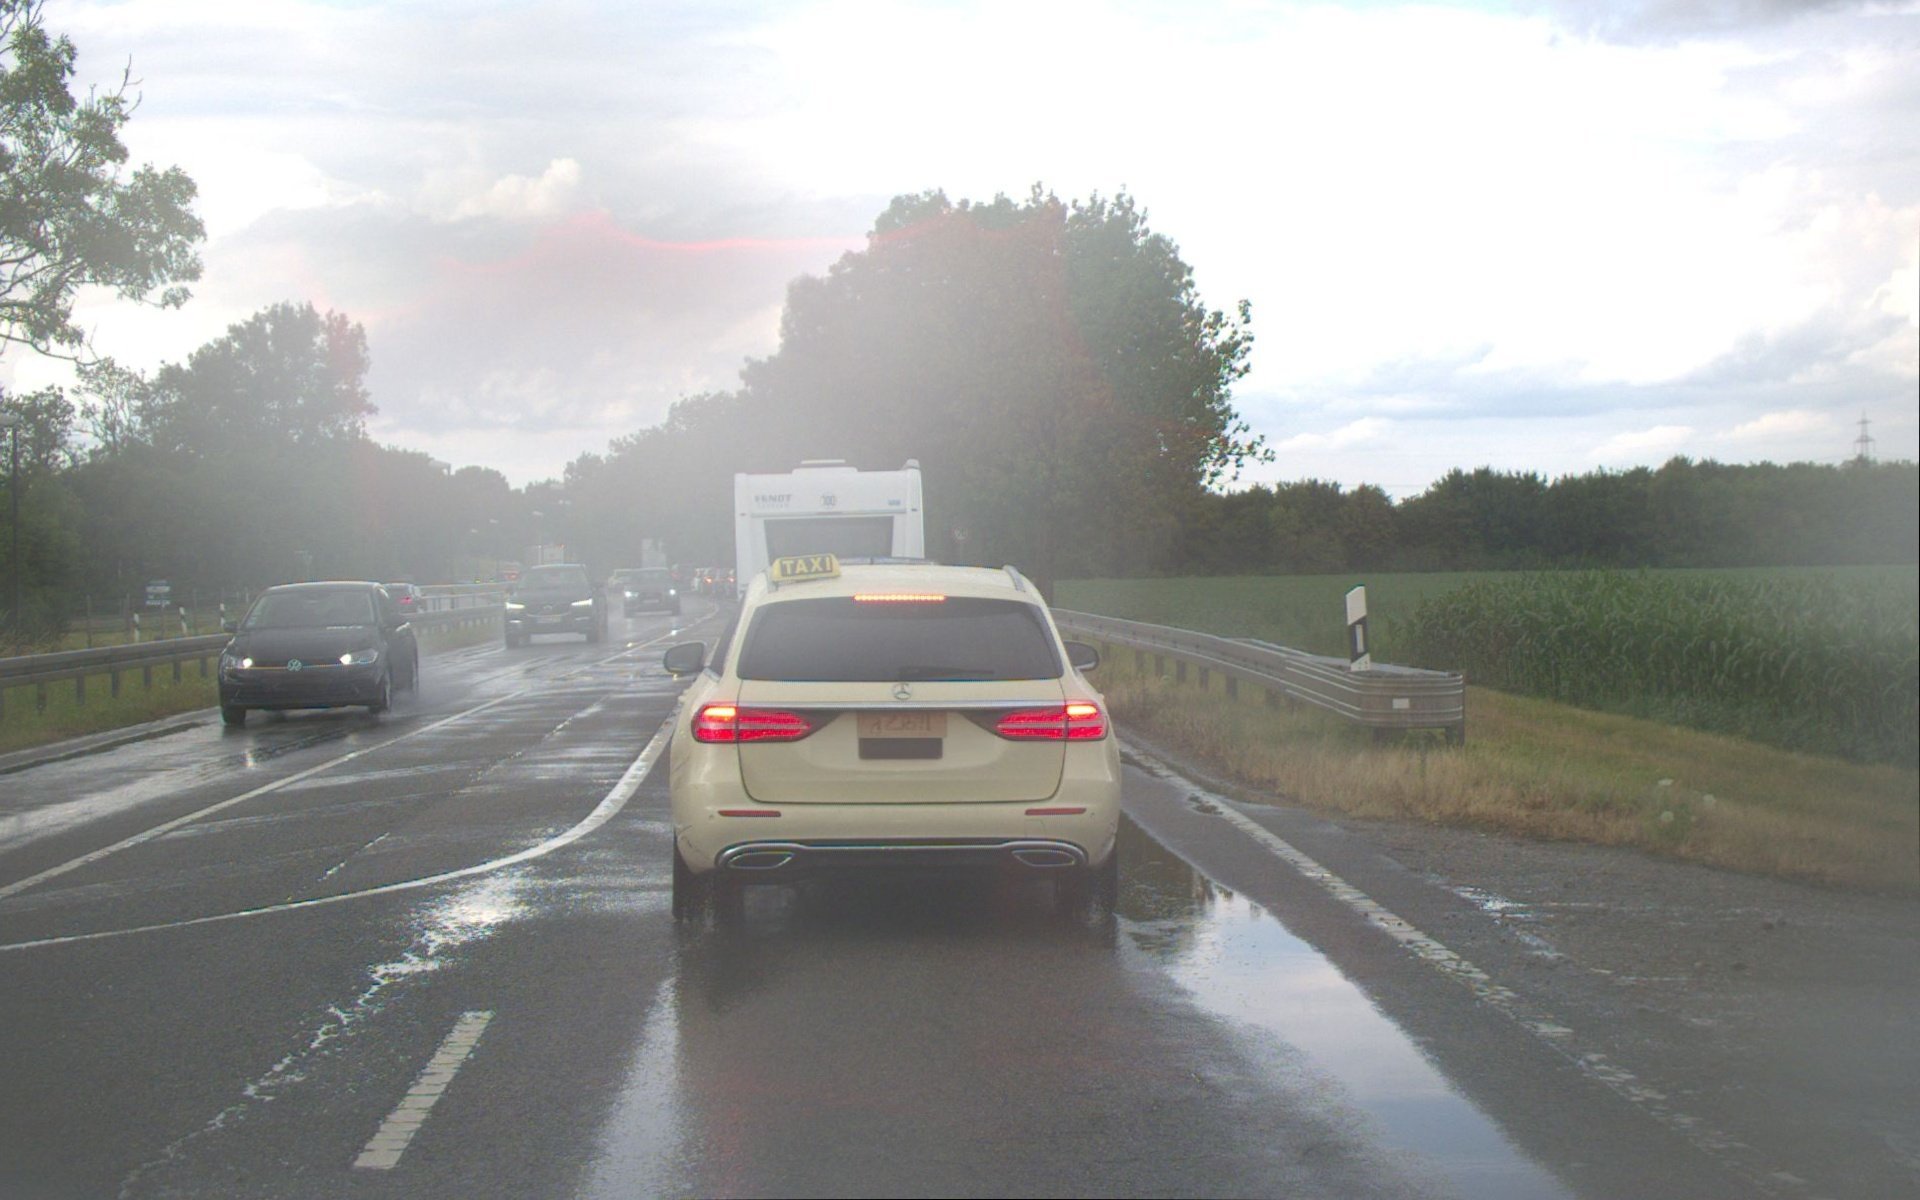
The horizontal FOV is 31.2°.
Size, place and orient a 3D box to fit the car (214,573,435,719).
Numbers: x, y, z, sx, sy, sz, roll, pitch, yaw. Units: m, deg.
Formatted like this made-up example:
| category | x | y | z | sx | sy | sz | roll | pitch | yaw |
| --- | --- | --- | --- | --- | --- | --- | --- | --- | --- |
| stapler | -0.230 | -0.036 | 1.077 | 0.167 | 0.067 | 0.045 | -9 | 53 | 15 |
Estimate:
| category | x | y | z | sx | sy | sz | roll | pitch | yaw |
| --- | --- | --- | --- | --- | --- | --- | --- | --- | --- |
| car | -6.746 | 0.452 | 36.829 | 1.712 | 1.401 | 3.814 | -2 | 1 | -1 |

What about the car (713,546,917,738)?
| category | x | y | z | sx | sy | sz | roll | pitch | yaw |
| --- | --- | --- | --- | --- | --- | --- | --- | --- | --- |
| car | -1.266 | 0.311 | 30.080 | 1.627 | 1.524 | 3.933 | -1 | 1 | -2 |

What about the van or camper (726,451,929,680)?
| category | x | y | z | sx | sy | sz | roll | pitch | yaw |
| --- | --- | --- | --- | --- | --- | --- | --- | --- | --- |
| van or camper | -1.693 | -0.467 | 43.690 | 2.350 | 2.671 | 5.769 | -1 | 1 | -2 |

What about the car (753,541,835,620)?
| category | x | y | z | sx | sy | sz | roll | pitch | yaw |
| --- | --- | --- | --- | --- | --- | --- | --- | --- | --- |
| car | -4.818 | -0.576 | 100.279 | 2.246 | 2.191 | 5.412 | -1 | 1 | -2 |

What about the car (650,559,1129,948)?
| category | x | y | z | sx | sy | sz | roll | pitch | yaw |
| --- | --- | --- | --- | --- | --- | --- | --- | --- | --- |
| car | -0.313 | 0.562 | 15.195 | 1.825 | 1.480 | 4.145 | 0 | 1 | -1 |

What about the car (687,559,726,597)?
| category | x | y | z | sx | sy | sz | roll | pitch | yaw |
| --- | --- | --- | --- | --- | --- | --- | --- | --- | --- |
| car | -13.641 | -1.200 | 184.893 | 1.993 | 2.007 | 4.001 | -1 | 1 | -3 |

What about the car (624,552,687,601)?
| category | x | y | z | sx | sy | sz | roll | pitch | yaw |
| --- | --- | --- | --- | --- | --- | --- | --- | --- | --- |
| car | -10.052 | -0.788 | 113.731 | 1.769 | 1.518 | 4.141 | -3 | 1 | -2 |

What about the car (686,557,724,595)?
| category | x | y | z | sx | sy | sz | roll | pitch | yaw |
| --- | --- | --- | --- | --- | --- | --- | --- | --- | --- |
| car | -14.203 | -1.361 | 191.352 | 1.993 | 2.044 | 4.001 | -1 | 1 | -3 |

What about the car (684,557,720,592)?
| category | x | y | z | sx | sy | sz | roll | pitch | yaw |
| --- | --- | --- | --- | --- | --- | --- | --- | --- | --- |
| car | -15.145 | -1.508 | 201.920 | 1.993 | 2.007 | 4.001 | -1 | 1 | -6 |

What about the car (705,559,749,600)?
| category | x | y | z | sx | sy | sz | roll | pitch | yaw |
| --- | --- | --- | --- | --- | --- | --- | --- | --- | --- |
| car | -11.669 | -1.016 | 171.992 | 1.993 | 2.007 | 4.001 | -1 | 1 | -7 |

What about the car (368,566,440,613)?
| category | x | y | z | sx | sy | sz | roll | pitch | yaw |
| --- | --- | --- | --- | --- | --- | --- | --- | --- | --- |
| car | -20.270 | -0.402 | 125.447 | 1.993 | 1.645 | 4.000 | -1 | 1 | -1 |

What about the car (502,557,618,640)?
| category | x | y | z | sx | sy | sz | roll | pitch | yaw |
| --- | --- | --- | --- | --- | --- | --- | --- | --- | --- |
| car | -8.284 | -0.061 | 71.516 | 1.944 | 1.575 | 4.444 | -2 | 1 | -2 |

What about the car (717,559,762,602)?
| category | x | y | z | sx | sy | sz | roll | pitch | yaw |
| --- | --- | --- | --- | --- | --- | --- | --- | --- | --- |
| car | -10.526 | -0.934 | 163.766 | 1.993 | 2.007 | 4.001 | -1 | 1 | -5 |

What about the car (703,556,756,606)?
| category | x | y | z | sx | sy | sz | roll | pitch | yaw |
| --- | --- | --- | --- | --- | --- | --- | --- | --- | --- |
| car | -9.629 | -0.798 | 143.498 | 1.993 | 2.007 | 4.001 | -1 | 1 | -6 |
